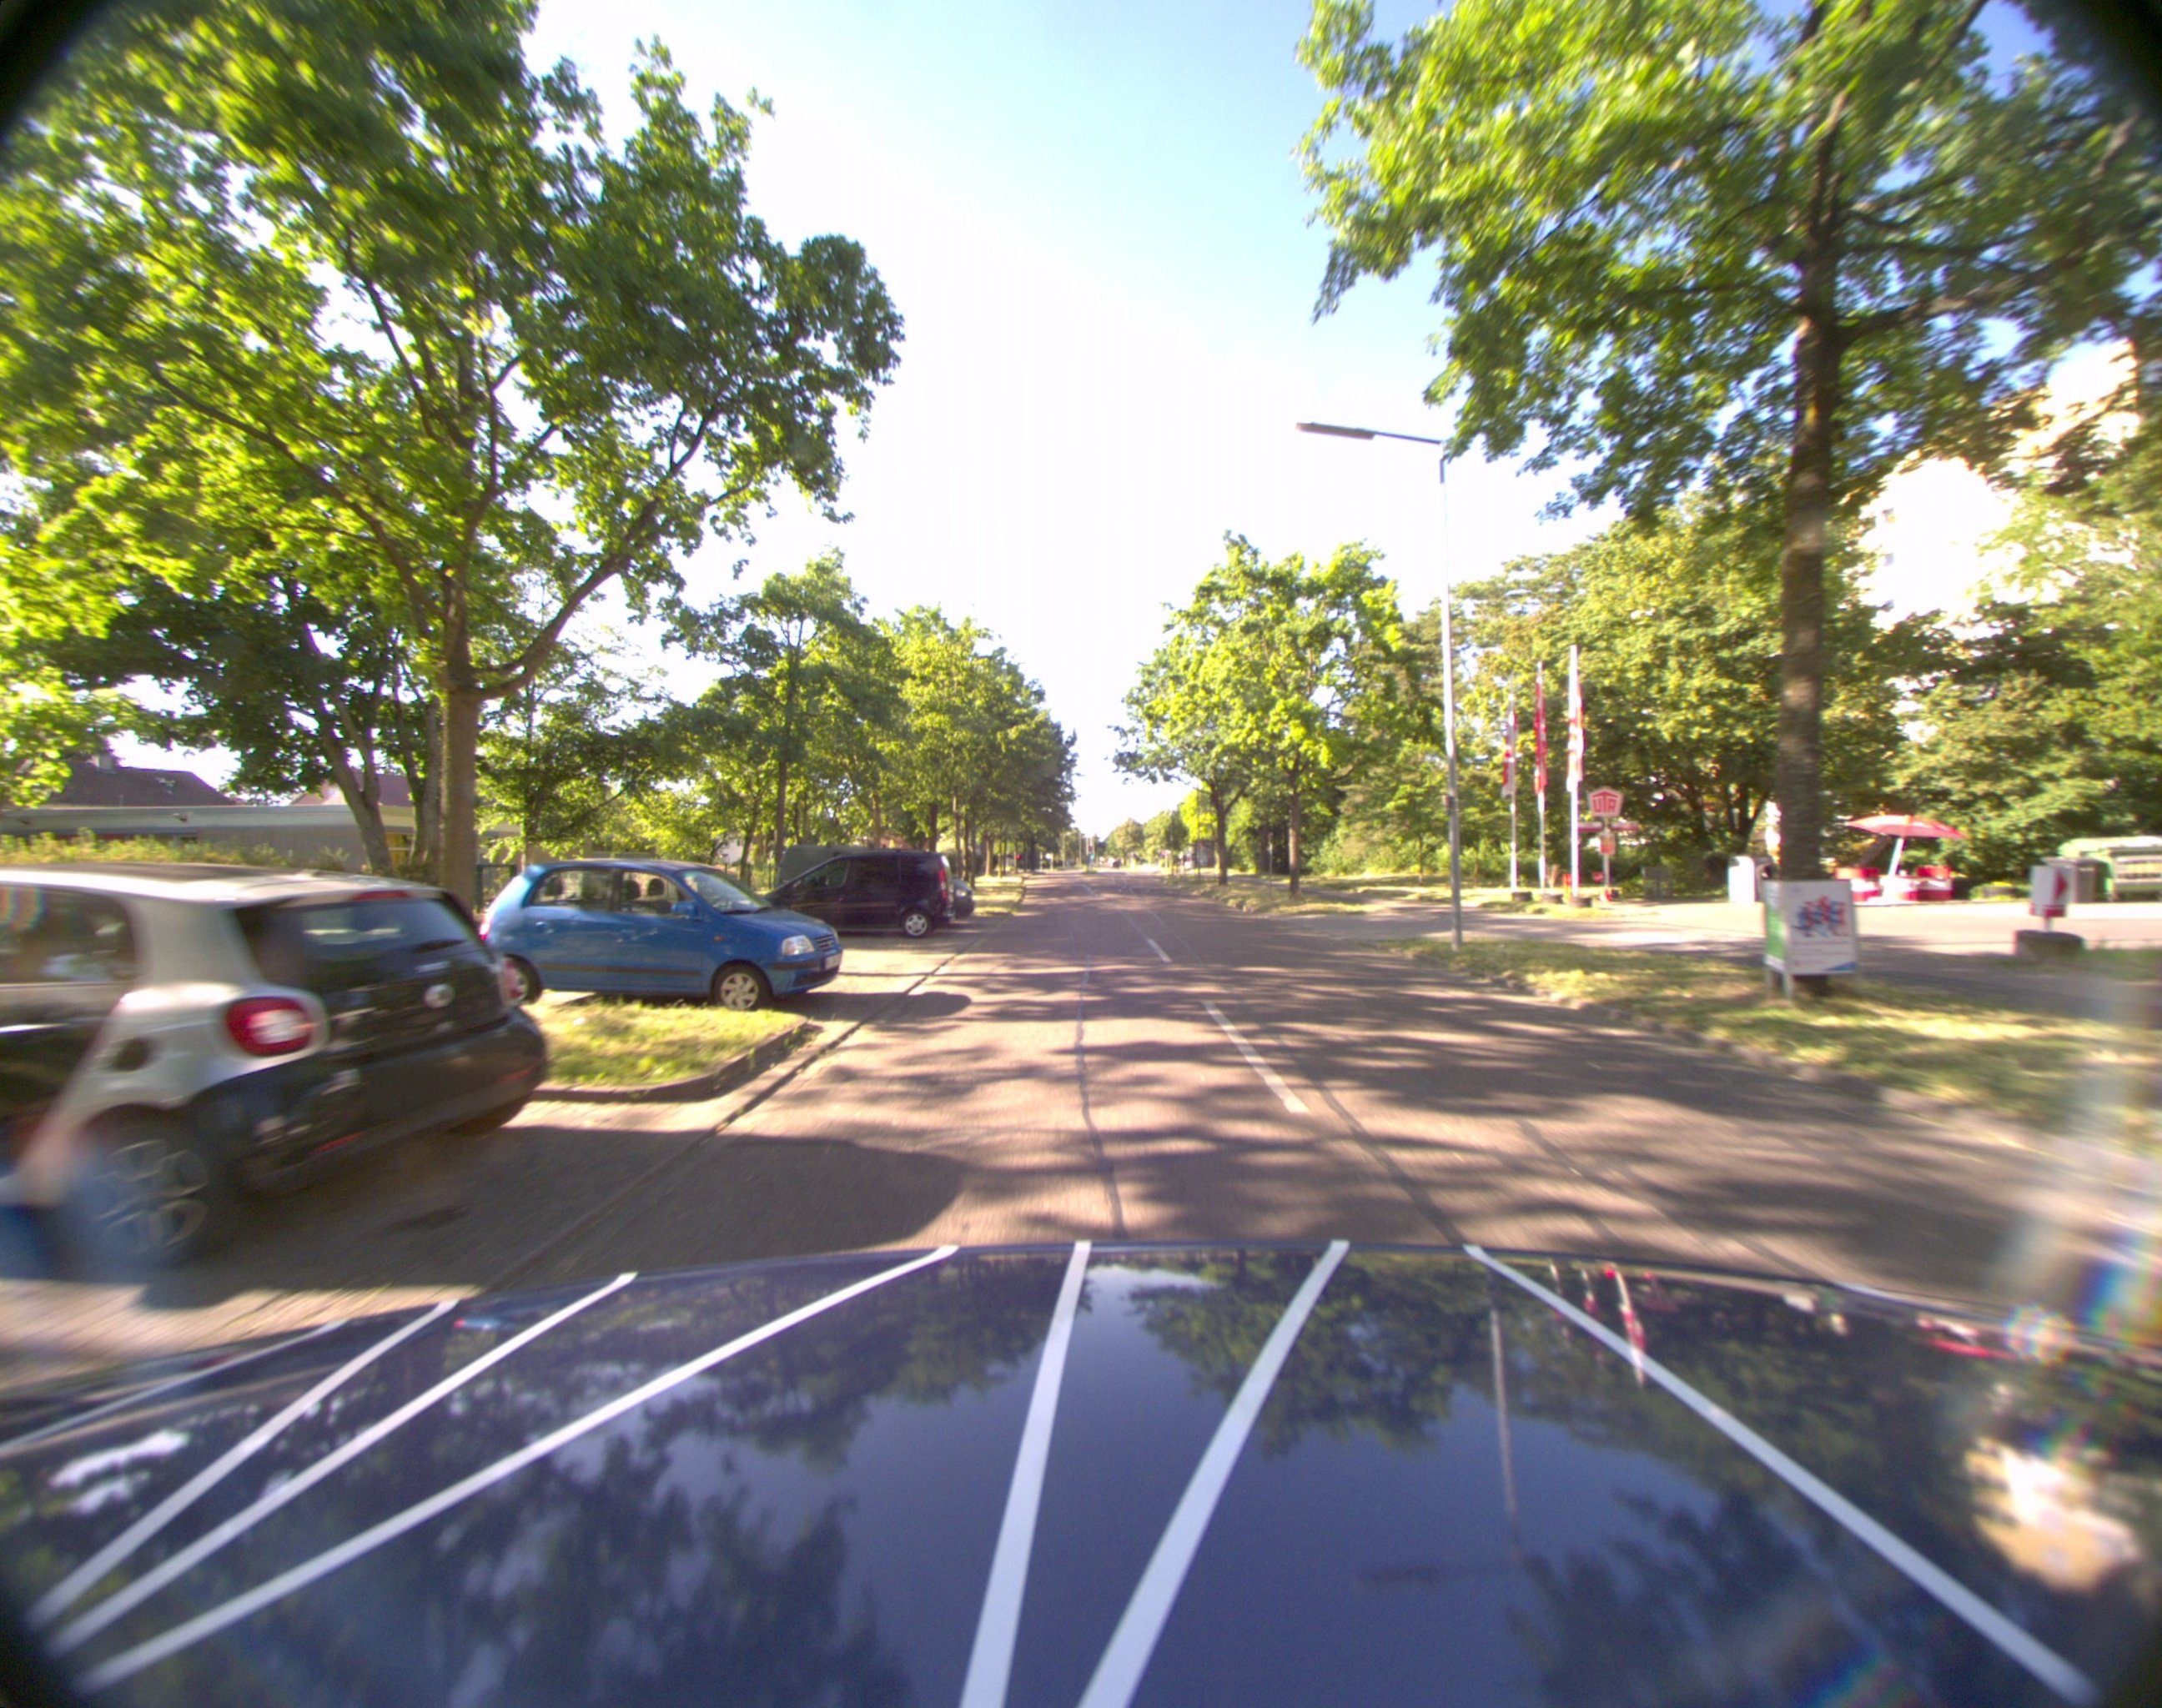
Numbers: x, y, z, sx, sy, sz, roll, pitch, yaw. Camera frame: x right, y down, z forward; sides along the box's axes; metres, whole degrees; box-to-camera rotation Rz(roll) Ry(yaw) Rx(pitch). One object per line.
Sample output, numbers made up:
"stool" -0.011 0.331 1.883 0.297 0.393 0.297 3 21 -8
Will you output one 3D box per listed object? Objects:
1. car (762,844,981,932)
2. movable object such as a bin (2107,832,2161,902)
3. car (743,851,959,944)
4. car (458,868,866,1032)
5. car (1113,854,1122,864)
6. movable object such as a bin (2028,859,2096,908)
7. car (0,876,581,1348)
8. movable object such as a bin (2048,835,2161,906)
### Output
"car" -4.979 0.797 18.578 4.815 2.020 1.944 0 0 0
"movable object such as a bin" 24.522 0.276 17.088 1.307 1.533 1.164 -2 0 1
"car" -4.730 0.877 16.085 4.020 1.826 1.799 1 0 -2
"car" -4.373 0.957 8.302 3.529 1.523 1.665 1 0 2
"car" 8.176 1.084 169.353 1.904 2.082 3.641 1 0 1
"movable object such as a bin" 22.278 0.650 17.267 0.570 1.079 0.768 -1 0 1
"car" -4.775 0.942 3.629 3.592 1.567 1.786 1 0 2
"movable object such as a bin" 23.268 0.363 17.132 1.307 1.533 1.268 -1 0 1
